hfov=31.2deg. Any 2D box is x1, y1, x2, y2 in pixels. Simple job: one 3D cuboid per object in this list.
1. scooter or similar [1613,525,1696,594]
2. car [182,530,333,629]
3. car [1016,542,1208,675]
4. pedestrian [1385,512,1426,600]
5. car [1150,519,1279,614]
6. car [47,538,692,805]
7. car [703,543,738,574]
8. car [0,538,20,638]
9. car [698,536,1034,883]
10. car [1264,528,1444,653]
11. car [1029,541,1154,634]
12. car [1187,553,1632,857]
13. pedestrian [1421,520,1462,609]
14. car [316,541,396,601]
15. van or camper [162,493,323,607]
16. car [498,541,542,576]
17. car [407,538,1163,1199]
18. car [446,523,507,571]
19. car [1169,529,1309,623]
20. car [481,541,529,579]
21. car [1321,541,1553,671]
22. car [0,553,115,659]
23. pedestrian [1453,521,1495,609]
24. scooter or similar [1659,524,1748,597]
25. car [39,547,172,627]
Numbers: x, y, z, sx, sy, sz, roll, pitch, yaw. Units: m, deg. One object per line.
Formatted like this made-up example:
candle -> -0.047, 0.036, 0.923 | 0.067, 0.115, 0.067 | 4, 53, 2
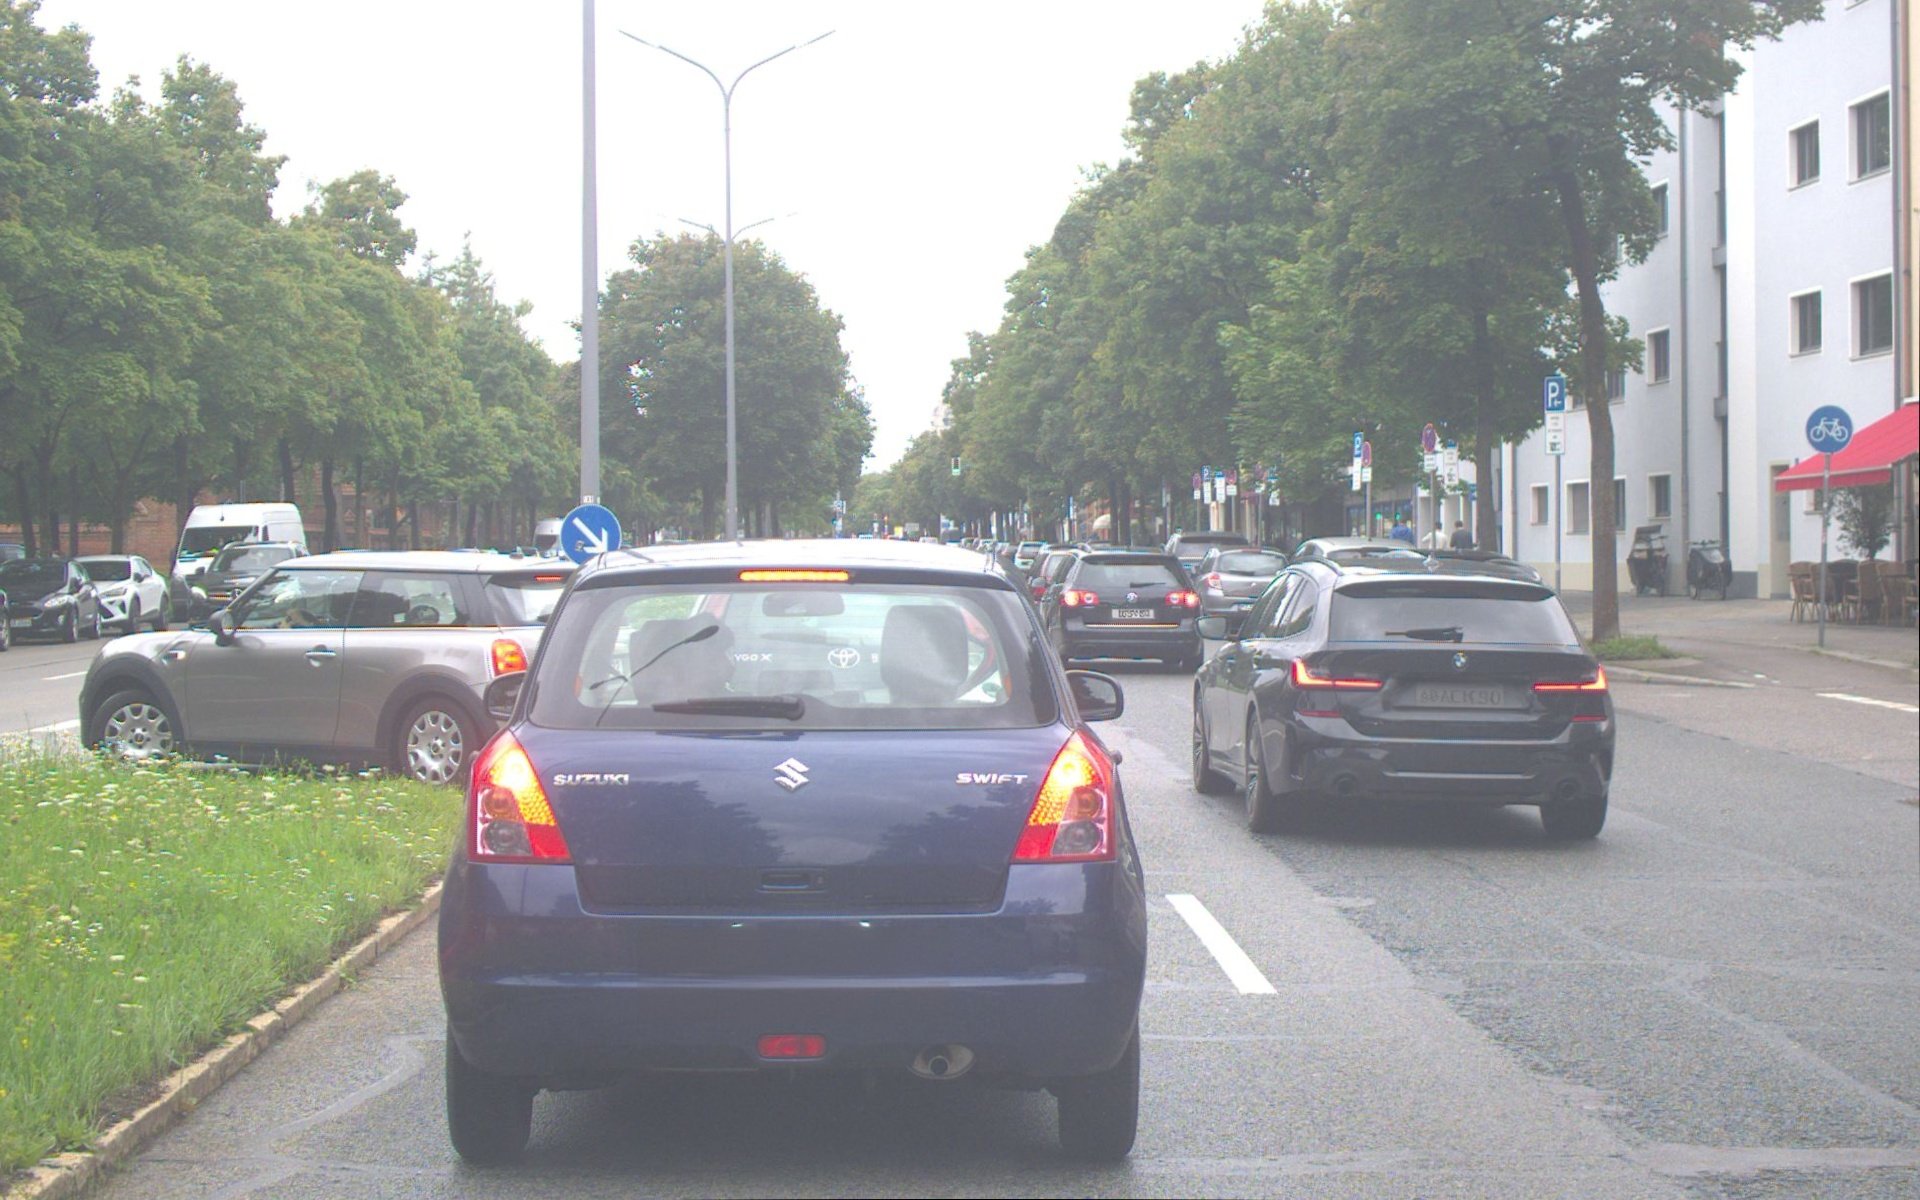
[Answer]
scooter or similar -> 13.455, -0.796, 66.646 | 1.033, 1.303, 2.755 | 0, 1, 0
car -> -12.299, -0.390, 60.448 | 1.766, 1.618, 4.507 | -2, 1, -1
car -> 1.727, 0.058, 40.508 | 1.731, 1.427, 4.443 | 1, 1, -4
pedestrian -> 10.179, -1.012, 78.543 | 0.794, 2.007, 1.006 | 0, 1, 0
car -> 4.668, -0.643, 63.674 | 1.865, 1.677, 4.225 | -1, 1, -3
car -> -3.606, 0.367, 20.812 | 3.729, 1.458, 1.684 | 1, 1, 34
car -> -12.490, -2.166, 179.270 | 1.632, 1.547, 3.879 | 1, 1, -2
car -> -15.665, -0.179, 52.610 | 1.590, 1.553, 3.879 | 1, 1, -2
car -> -0.462, 0.443, 16.333 | 1.444, 1.478, 3.107 | 0, 1, -2
car -> 5.221, -0.166, 46.013 | 1.791, 1.553, 4.225 | -1, 1, -2
car -> 2.028, -0.223, 53.950 | 1.682, 1.379, 3.919 | 1, 1, -1
car -> 2.332, 0.479, 18.944 | 1.758, 1.408, 4.463 | 1, 1, -1
pedestrian -> 10.996, -0.815, 78.516 | 0.794, 2.007, 1.006 | 0, 1, 0
car -> -16.496, -0.801, 94.025 | 1.632, 1.577, 3.879 | 1, 1, -2
van or camper -> -16.299, -1.143, 78.491 | 2.117, 2.473, 7.449 | 1, 1, 0
car -> -20.069, -1.889, 156.937 | 1.632, 1.577, 3.879 | 1, 1, -2
car -> -0.461, 0.586, 9.631 | 1.682, 1.496, 3.919 | 0, 1, -2
car -> -16.432, -1.812, 117.039 | 1.632, 1.577, 3.879 | 1, 1, -2
car -> 4.734, -0.438, 58.849 | 1.865, 1.512, 4.225 | -1, 1, -3
car -> -19.455, -1.724, 147.123 | 1.632, 1.577, 3.879 | 1, 1, -2
car -> 5.597, 0.031, 40.822 | 1.865, 1.412, 4.225 | -1, 1, -4
car -> -15.751, 0.079, 58.991 | 1.632, 1.735, 3.879 | 1, 1, -2
pedestrian -> 11.816, -0.814, 79.048 | 0.794, 2.007, 1.006 | 0, 1, 0
scooter or similar -> 13.719, -0.743, 63.548 | 1.033, 1.303, 2.755 | 0, 1, 0
car -> -15.948, -0.269, 64.321 | 1.632, 1.426, 3.879 | 1, 1, -2
